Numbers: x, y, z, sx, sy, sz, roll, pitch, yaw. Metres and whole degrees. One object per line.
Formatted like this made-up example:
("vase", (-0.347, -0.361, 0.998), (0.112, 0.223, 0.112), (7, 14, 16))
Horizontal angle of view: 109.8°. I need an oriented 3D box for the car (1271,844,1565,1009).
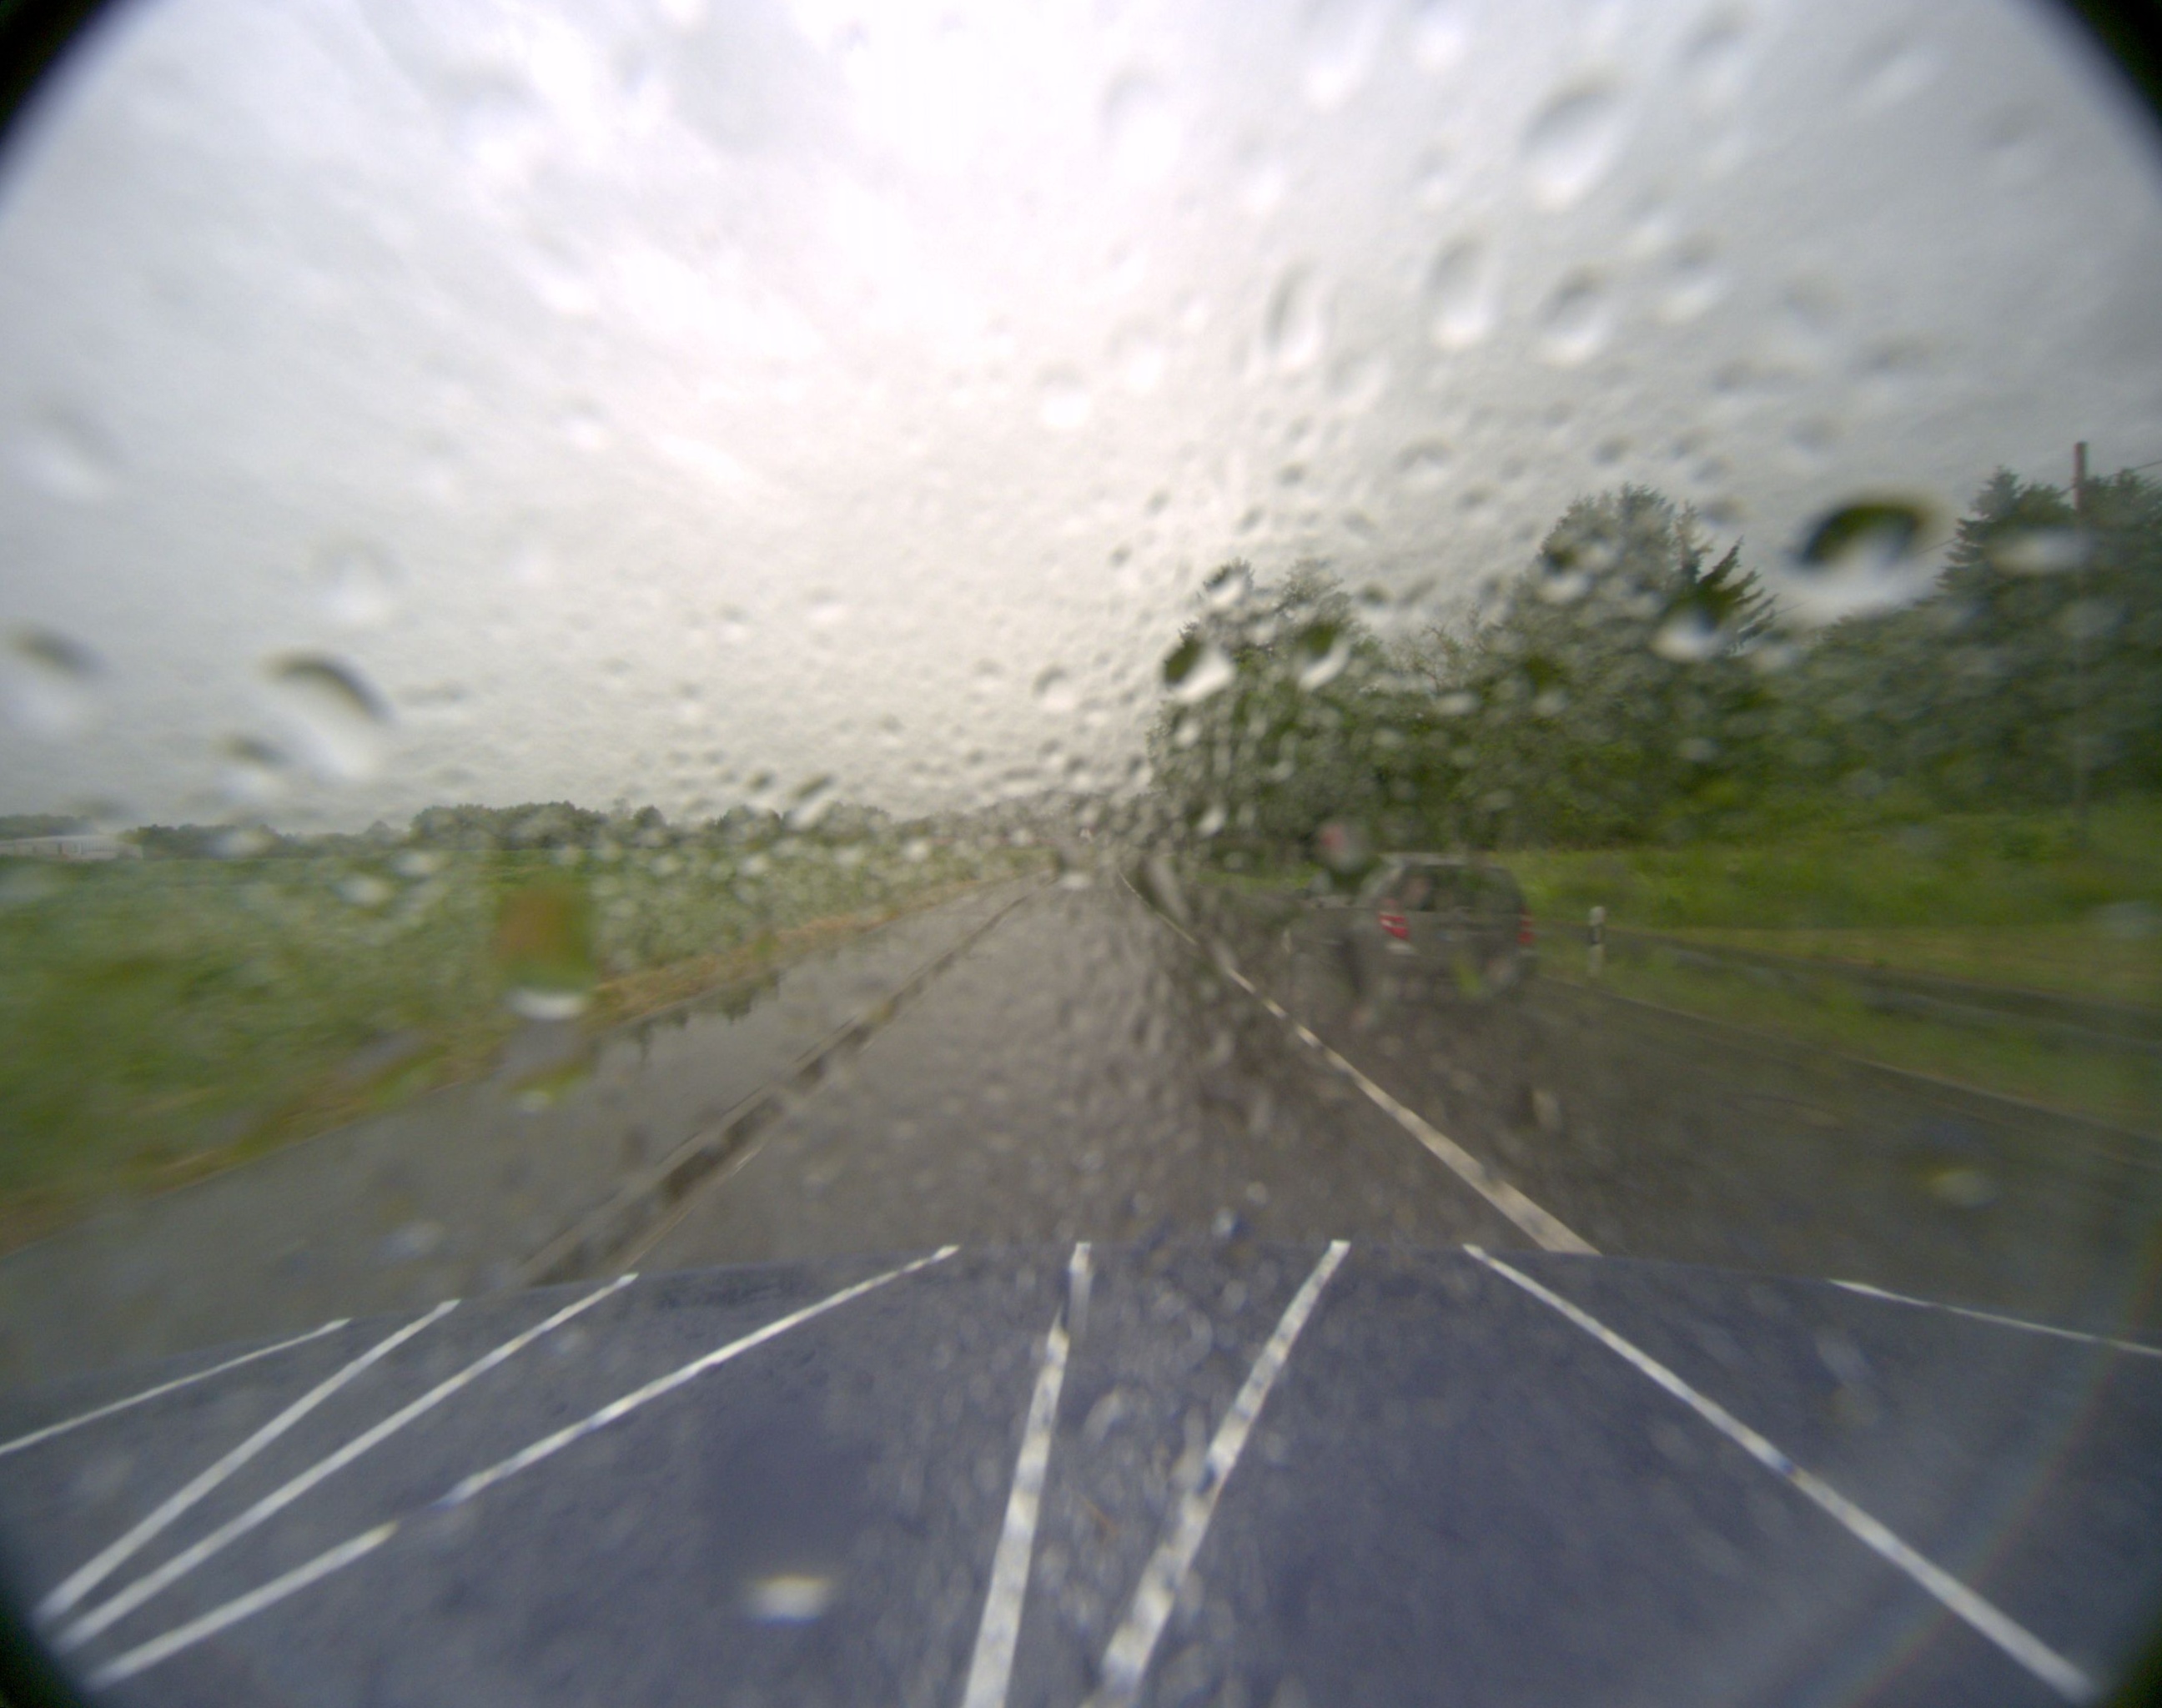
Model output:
("car", (3.693, 0.664, 9.188), (1.765, 1.543, 3.999), (-1, 1, 0))
